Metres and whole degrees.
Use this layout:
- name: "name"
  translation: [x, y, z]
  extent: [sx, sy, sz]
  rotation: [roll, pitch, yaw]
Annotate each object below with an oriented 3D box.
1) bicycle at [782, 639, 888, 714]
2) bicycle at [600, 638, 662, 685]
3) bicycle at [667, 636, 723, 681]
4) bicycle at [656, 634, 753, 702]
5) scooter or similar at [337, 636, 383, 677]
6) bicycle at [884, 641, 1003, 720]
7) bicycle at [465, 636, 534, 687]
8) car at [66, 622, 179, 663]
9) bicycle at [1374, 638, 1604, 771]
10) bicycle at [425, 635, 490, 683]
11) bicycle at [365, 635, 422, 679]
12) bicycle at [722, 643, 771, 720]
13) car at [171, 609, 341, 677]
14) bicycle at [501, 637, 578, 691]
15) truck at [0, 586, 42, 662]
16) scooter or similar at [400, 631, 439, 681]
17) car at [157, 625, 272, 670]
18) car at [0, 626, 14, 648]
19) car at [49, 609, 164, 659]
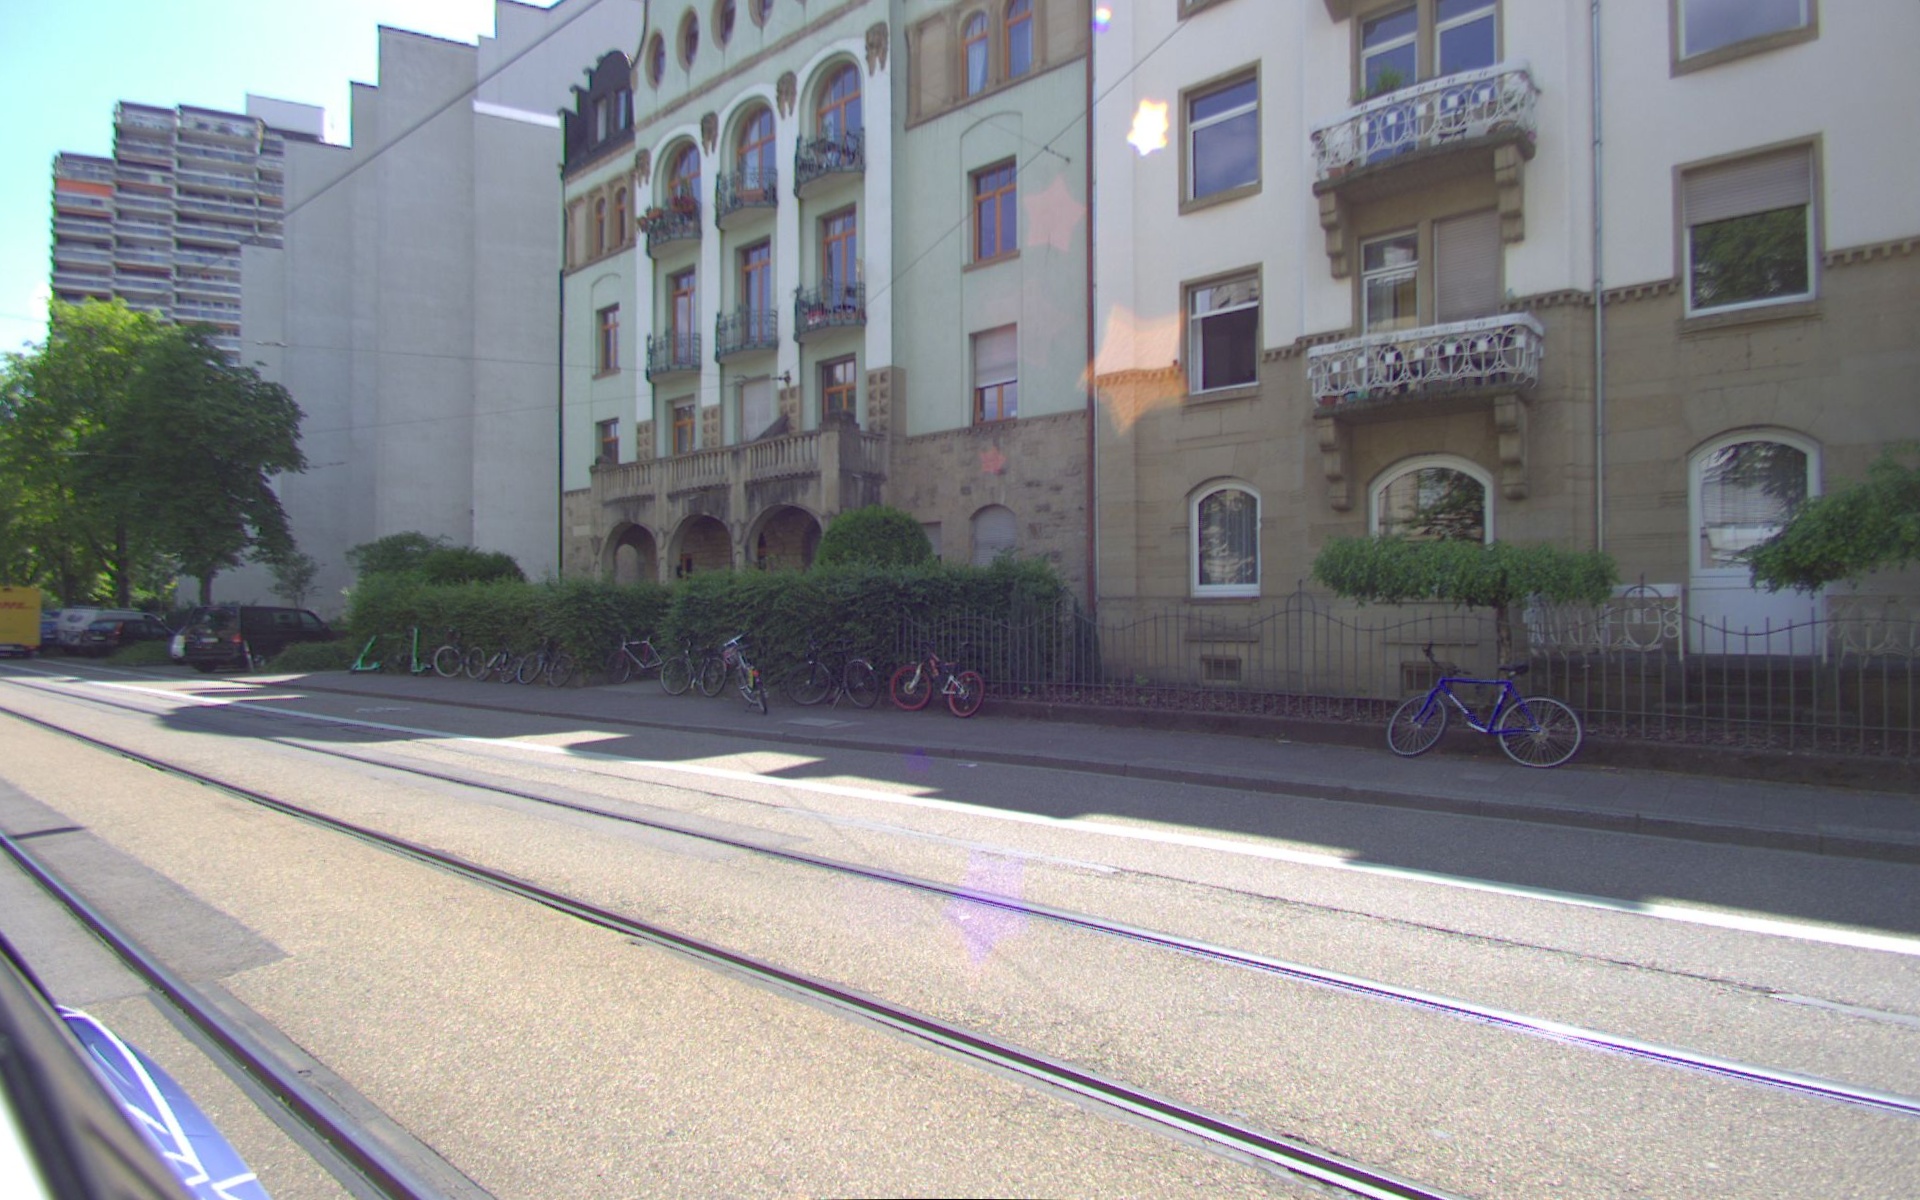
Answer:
- name: "bicycle"
  translation: [-1.839, 1.088, 14.756]
  extent: [1.706, 1.006, 0.460]
  rotation: [-1, 2, 40]
- name: "bicycle"
  translation: [-6.648, 1.229, 20.495]
  extent: [0.339, 0.915, 1.192]
  rotation: [-2, -2, 41]
- name: "bicycle"
  translation: [-5.676, 1.242, 21.723]
  extent: [0.339, 0.915, 1.192]
  rotation: [-2, -2, 41]
- name: "bicycle"
  translation: [-4.316, 1.125, 17.036]
  extent: [1.770, 1.040, 0.602]
  rotation: [-2, 2, 39]
- name: "scooter or similar"
  translation: [-15.483, 1.445, 26.121]
  extent: [1.216, 1.028, 0.404]
  rotation: [-1, -2, 24]
- name: "bicycle"
  translation: [-0.244, 1.061, 13.655]
  extent: [1.724, 0.973, 0.409]
  rotation: [-1, 2, 40]
- name: "bicycle"
  translation: [-9.796, 1.292, 21.496]
  extent: [1.706, 0.996, 0.602]
  rotation: [-2, 2, 39]
- name: "car"
  translation: [-34.060, 1.685, 41.275]
  extent: [1.658, 1.587, 3.687]
  rotation: [1, -1, -3]
- name: "bicycle"
  translation: [4.834, 0.911, 9.320]
  extent: [1.770, 1.072, 0.602]
  rotation: [-2, 2, 39]
- name: "bicycle"
  translation: [-11.341, 1.313, 22.824]
  extent: [1.706, 0.996, 0.602]
  rotation: [-2, 2, 39]
- name: "bicycle"
  translation: [-13.987, 1.387, 24.974]
  extent: [1.706, 0.996, 0.602]
  rotation: [-2, 2, 39]
- name: "bicycle"
  translation: [-3.143, 1.153, 14.776]
  extent: [0.599, 1.007, 1.779]
  rotation: [0, -1, -15]
- name: "car"
  translation: [-21.441, 1.271, 31.086]
  extent: [1.936, 1.940, 4.583]
  rotation: [0, -1, 2]
- name: "bicycle"
  translation: [-8.419, 1.262, 20.235]
  extent: [1.770, 0.983, 0.602]
  rotation: [-2, 2, 39]
- name: "truck"
  translation: [-39.483, 0.998, 41.242]
  extent: [6.511, 2.943, 2.277]
  rotation: [-1, -2, 41]
- name: "scooter or similar"
  translation: [-12.779, 1.306, 23.909]
  extent: [1.290, 1.128, 0.401]
  rotation: [-1, -1, 41]
- name: "car"
  translation: [-26.245, 1.637, 35.782]
  extent: [1.699, 1.465, 3.632]
  rotation: [0, -1, -7]
- name: "car"
  translation: [-64.636, 2.427, 66.567]
  extent: [1.656, 1.465, 3.680]
  rotation: [0, -1, -7]
- name: "car"
  translation: [-36.671, 1.427, 43.632]
  extent: [1.579, 2.058, 4.053]
  rotation: [0, -1, -1]
